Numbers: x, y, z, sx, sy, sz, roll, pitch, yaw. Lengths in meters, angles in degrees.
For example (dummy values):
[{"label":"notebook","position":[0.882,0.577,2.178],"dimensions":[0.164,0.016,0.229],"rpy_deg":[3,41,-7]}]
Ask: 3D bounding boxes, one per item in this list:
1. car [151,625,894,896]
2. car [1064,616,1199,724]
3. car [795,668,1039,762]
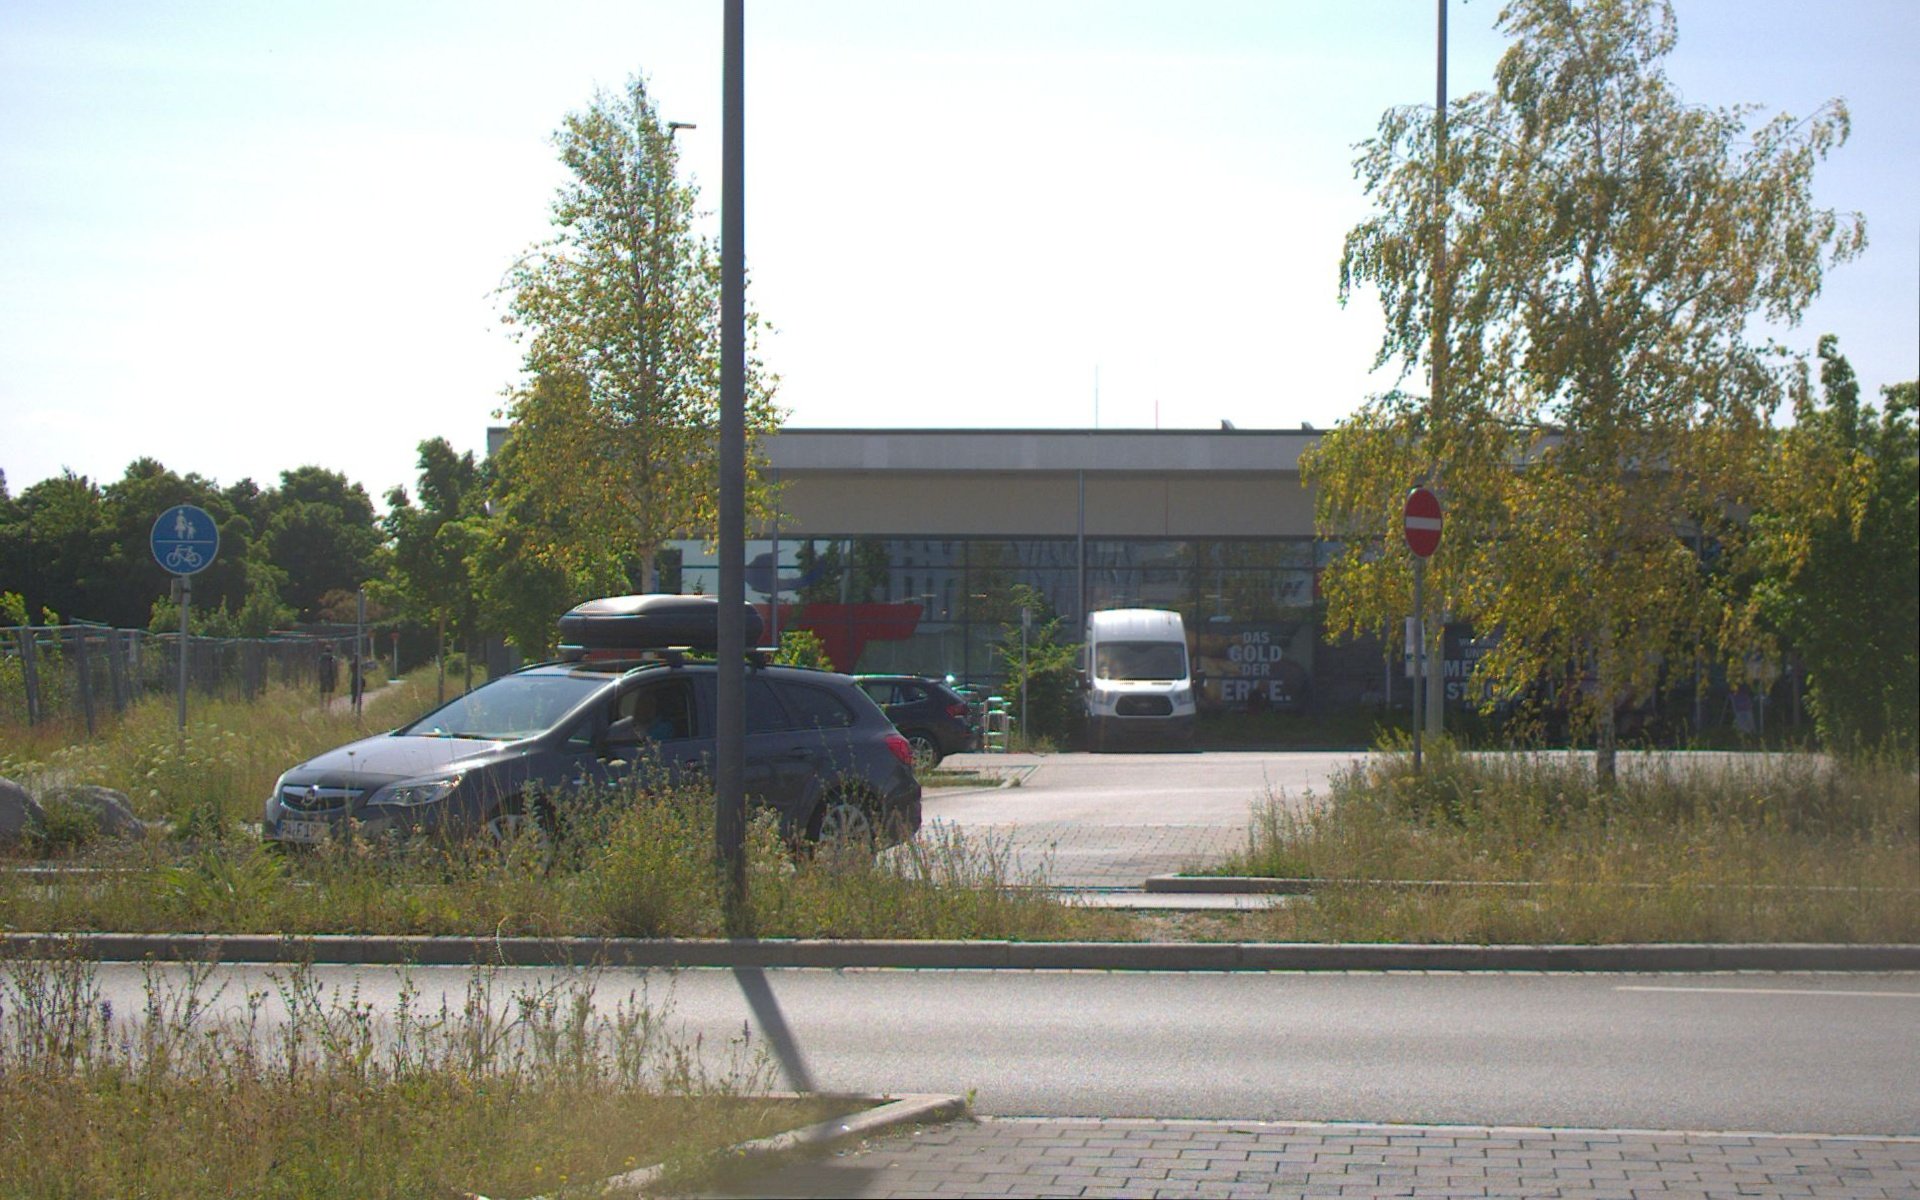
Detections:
[{"label":"car","position":[-2.639,0.962,21.374],"dimensions":[4.185,1.512,1.999],"rpy_deg":[2,-2,-44]},{"label":"car","position":[3.252,1.337,66.451],"dimensions":[2.222,1.970,6.696],"rpy_deg":[0,-1,0]},{"label":"car","position":[-0.676,1.835,55.051],"dimensions":[3.832,1.418,1.772],"rpy_deg":[1,-1,0]}]
